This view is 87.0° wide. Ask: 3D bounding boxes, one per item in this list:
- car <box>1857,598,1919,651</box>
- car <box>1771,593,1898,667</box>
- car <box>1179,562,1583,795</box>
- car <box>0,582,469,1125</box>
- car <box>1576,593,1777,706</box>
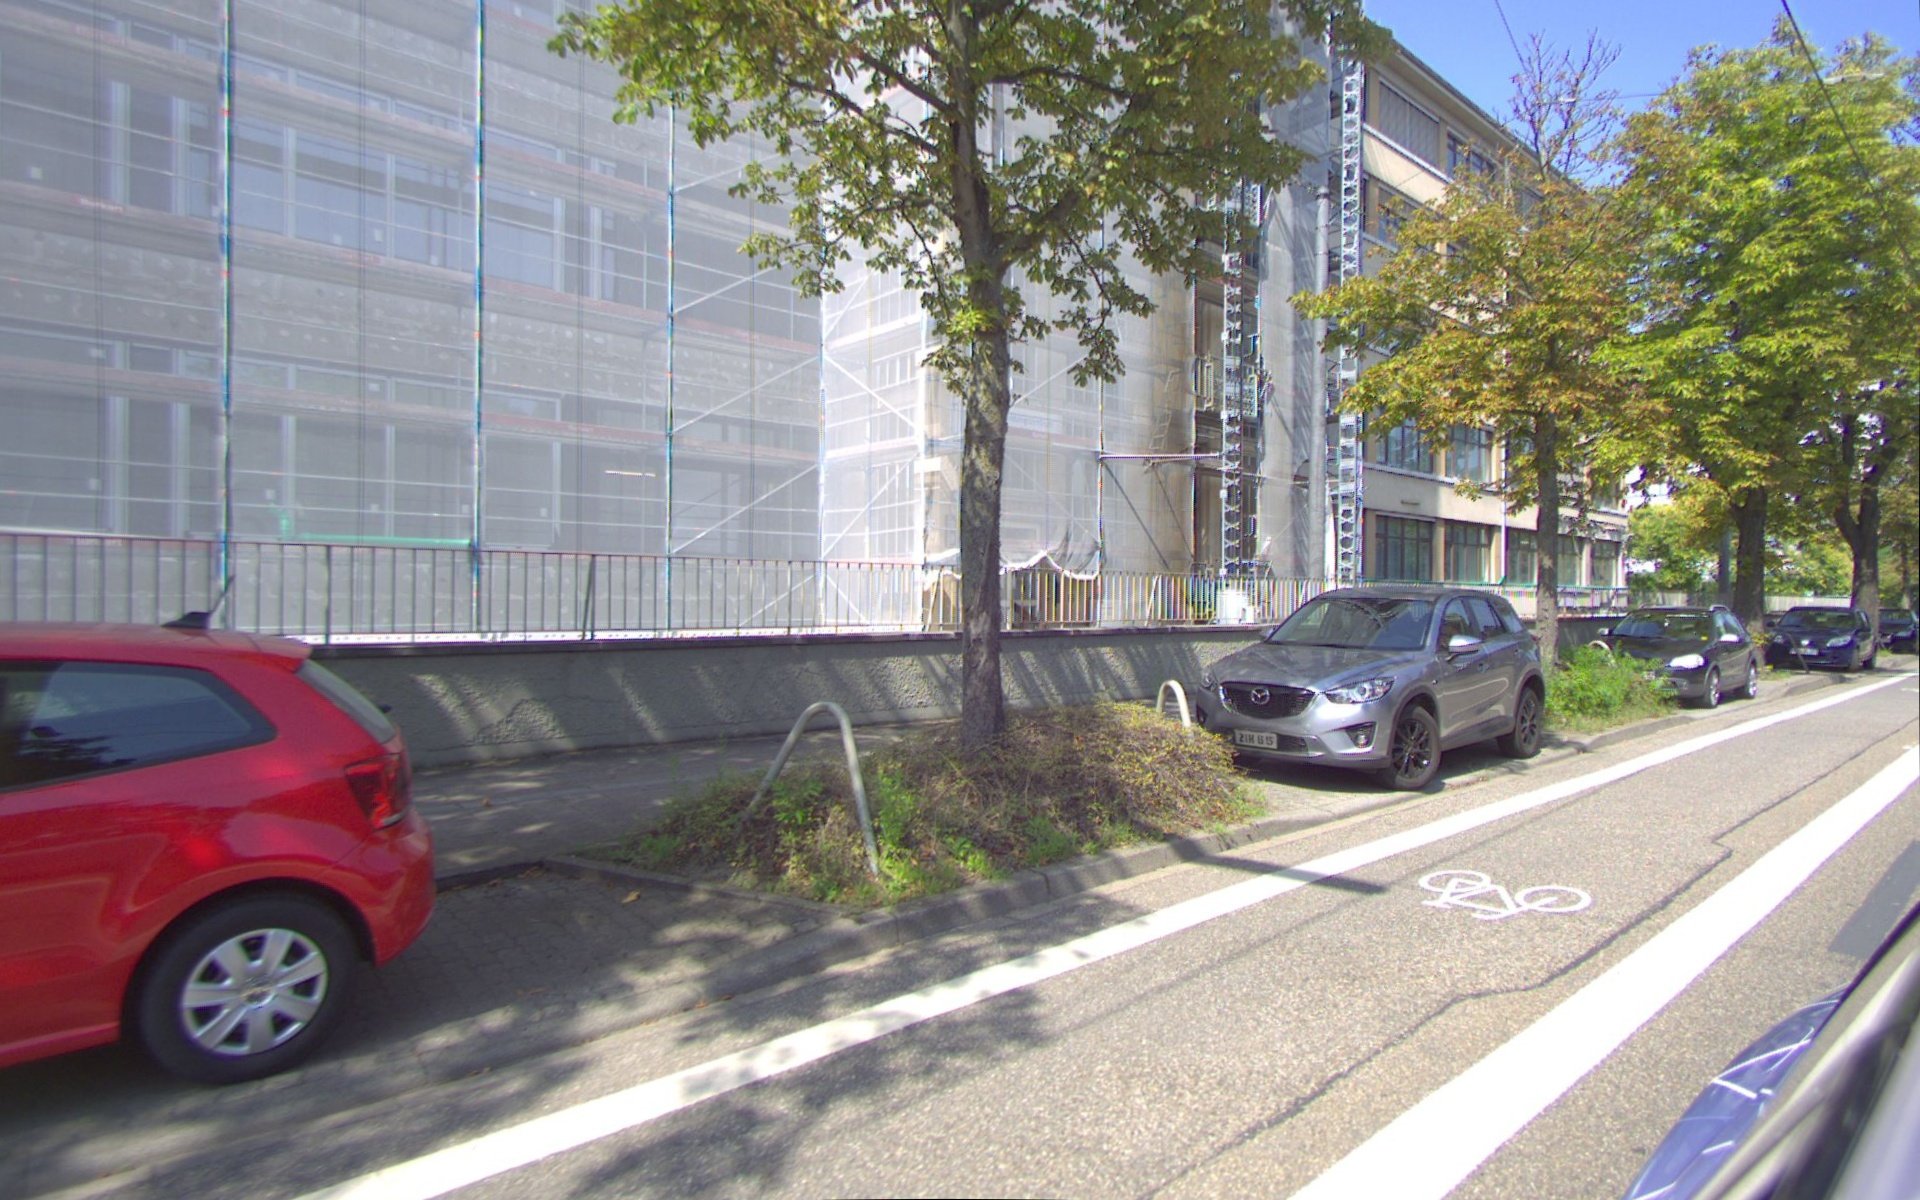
[{"bbox_3d":[29.775,0.729,31.961,3.924,1.491,1.641,0,3,-41],"label":"car"},{"bbox_3d":[21.130,0.690,24.406,4.010,1.590,1.645,1,1,-40],"label":"car"},{"bbox_3d":[4.181,0.563,9.636,4.568,1.710,1.764,0,0,-42],"label":"car"},{"bbox_3d":[-3.843,0.715,2.949,4.060,1.519,1.688,-1,1,-41],"label":"car"},{"bbox_3d":[11.516,0.680,16.185,3.929,1.590,1.688,0,0,-40],"label":"car"}]
